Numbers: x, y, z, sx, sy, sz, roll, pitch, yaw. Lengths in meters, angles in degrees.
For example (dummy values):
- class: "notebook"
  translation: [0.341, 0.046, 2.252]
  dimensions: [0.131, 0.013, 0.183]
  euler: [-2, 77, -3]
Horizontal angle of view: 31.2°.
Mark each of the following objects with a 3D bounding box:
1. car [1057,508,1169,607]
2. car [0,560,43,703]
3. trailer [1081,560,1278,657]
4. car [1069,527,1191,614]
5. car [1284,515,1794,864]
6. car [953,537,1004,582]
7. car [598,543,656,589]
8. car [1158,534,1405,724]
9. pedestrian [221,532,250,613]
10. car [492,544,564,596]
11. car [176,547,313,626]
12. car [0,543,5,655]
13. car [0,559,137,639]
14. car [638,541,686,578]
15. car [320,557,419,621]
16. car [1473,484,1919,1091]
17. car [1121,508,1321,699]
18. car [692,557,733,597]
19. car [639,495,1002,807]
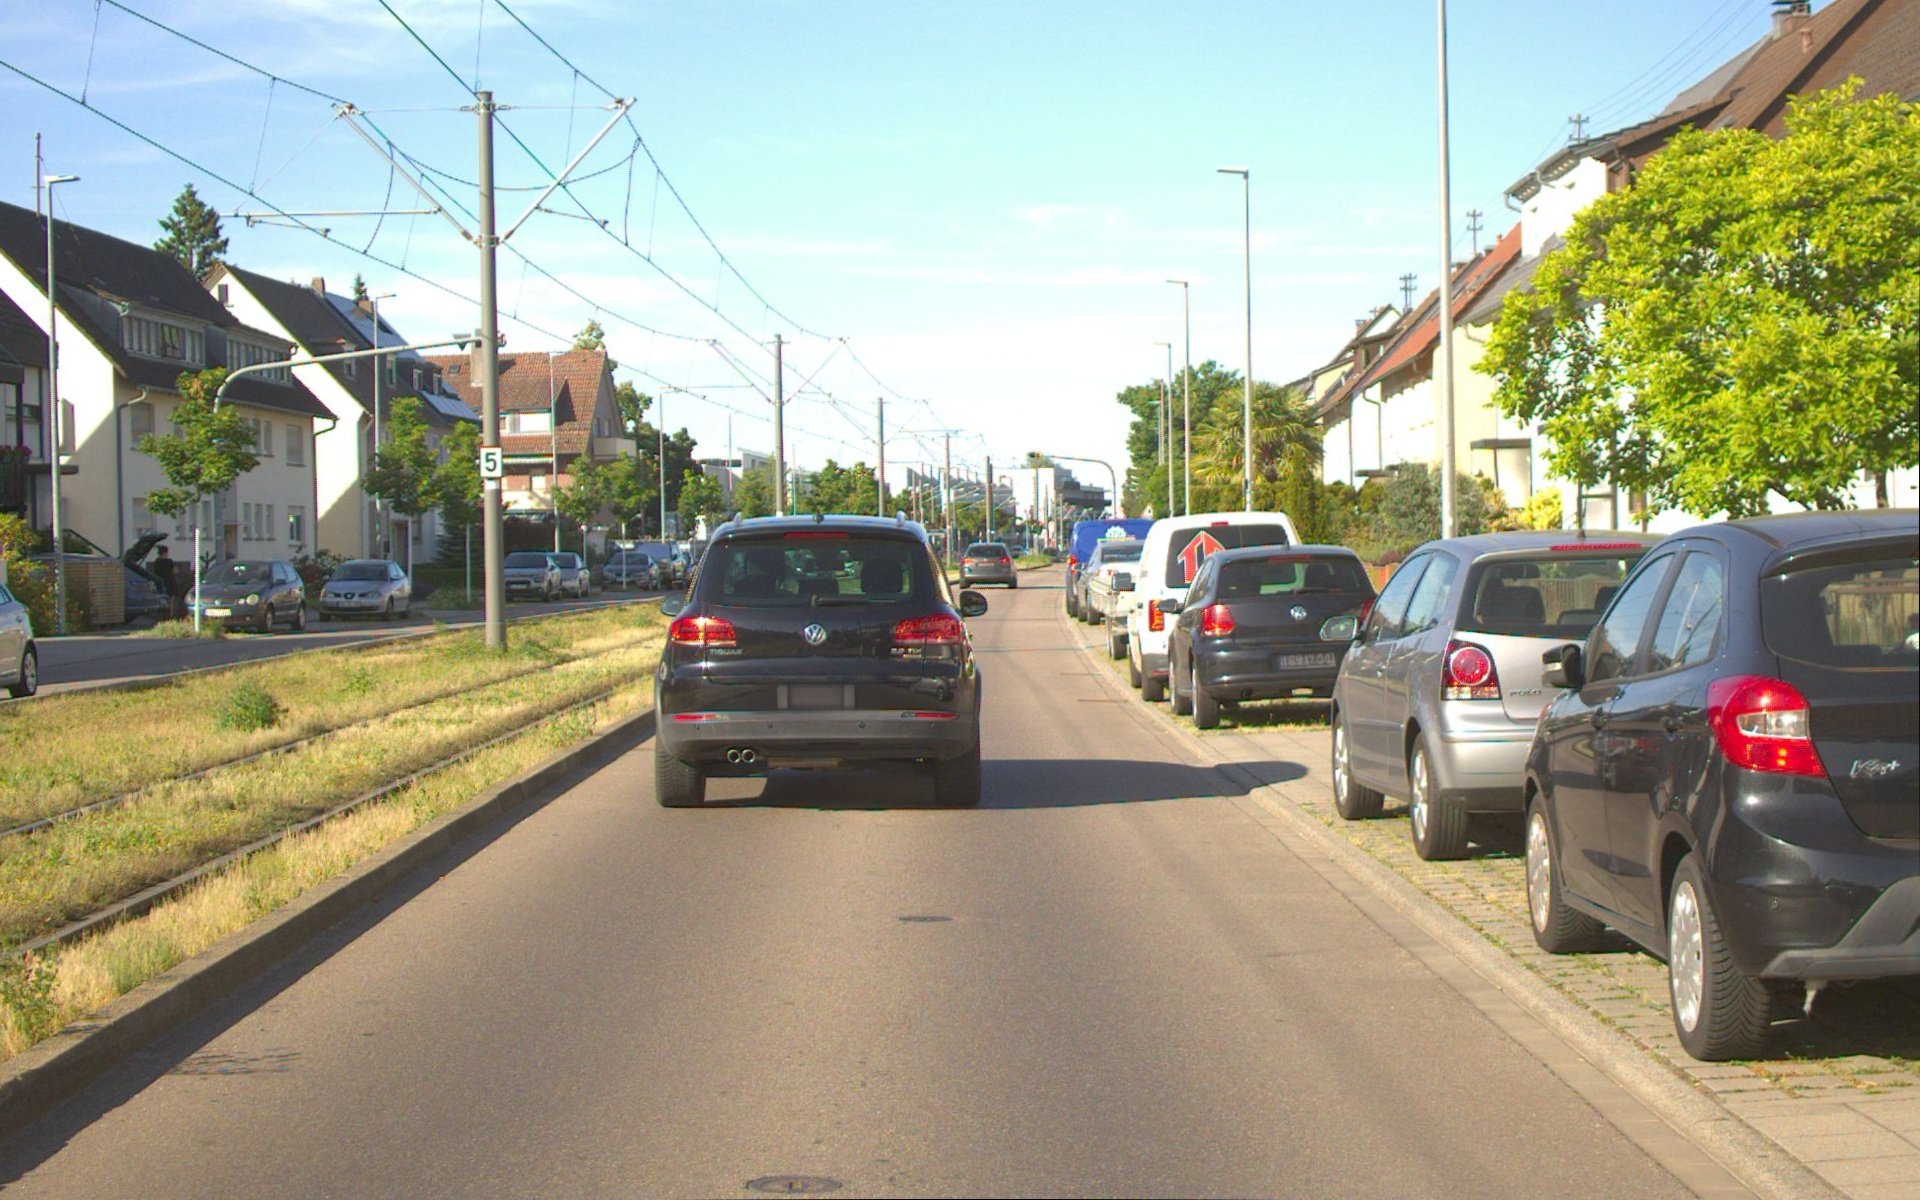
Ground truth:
- class: "car"
  translation: [2.999, -0.865, 68.172]
  dimensions: [1.993, 1.855, 4.917]
  euler: [-1, 1, 0]
- class: "car"
  translation: [-10.857, 0.338, 35.378]
  dimensions: [1.708, 1.485, 4.024]
  euler: [-1, -1, 1]
- class: "trailer"
  translation: [2.812, 0.077, 45.020]
  dimensions: [2.204, 1.090, 4.372]
  euler: [-2, 1, -1]
- class: "car"
  translation: [3.019, -0.555, 61.802]
  dimensions: [1.786, 1.436, 4.460]
  euler: [-2, 1, -1]
- class: "car"
  translation: [2.698, 0.357, 16.995]
  dimensions: [1.615, 1.470, 4.450]
  euler: [-1, 1, -2]
- class: "car"
  translation: [0.593, -1.307, 110.362]
  dimensions: [1.572, 1.386, 3.614]
  euler: [-1, 1, 0]
- class: "car"
  translation: [-12.178, -1.222, 125.863]
  dimensions: [1.660, 1.575, 4.000]
  euler: [-1, -1, 1]
- class: "car"
  translation: [2.642, 0.202, 29.041]
  dimensions: [1.671, 1.448, 4.126]
  euler: [-1, 1, 0]
- class: "pedestrian"
  translation: [-15.620, -0.602, 74.138]
  dimensions: [0.468, 1.740, 0.536]
  euler: [-1, 1, 0]
- class: "car"
  translation: [-12.995, -0.918, 103.554]
  dimensions: [1.659, 1.491, 3.579]
  euler: [-1, 1, 1]
- class: "car"
  translation: [-14.060, -0.291, 67.722]
  dimensions: [1.619, 1.448, 3.717]
  euler: [-1, 1, 5]
- class: "car"
  translation: [-14.363, 0.048, 46.388]
  dimensions: [1.802, 1.591, 4.813]
  euler: [-1, 1, -3]
- class: "car"
  translation: [-19.065, -0.019, 70.893]
  dimensions: [3.901, 1.562, 1.735]
  euler: [-1, 1, -8]
- class: "car"
  translation: [-11.389, -1.569, 131.542]
  dimensions: [1.515, 1.357, 3.590]
  euler: [-1, 1, 0]
- class: "car"
  translation: [-13.812, -0.244, 80.561]
  dimensions: [1.618, 1.404, 3.717]
  euler: [-1, -1, 1]
- class: "car"
  translation: [2.745, 0.424, 10.821]
  dimensions: [1.666, 1.542, 3.835]
  euler: [-3, 1, 1]
- class: "car"
  translation: [2.570, -0.015, 34.741]
  dimensions: [1.690, 1.770, 4.656]
  euler: [-1, 1, 1]
- class: "car"
  translation: [-10.705, -1.007, 148.820]
  dimensions: [1.465, 1.671, 3.287]
  euler: [-1, 0, 0]
- class: "car"
  translation: [-0.946, 0.257, 20.667]
  dimensions: [1.811, 1.665, 4.259]
  euler: [1, 1, -7]
